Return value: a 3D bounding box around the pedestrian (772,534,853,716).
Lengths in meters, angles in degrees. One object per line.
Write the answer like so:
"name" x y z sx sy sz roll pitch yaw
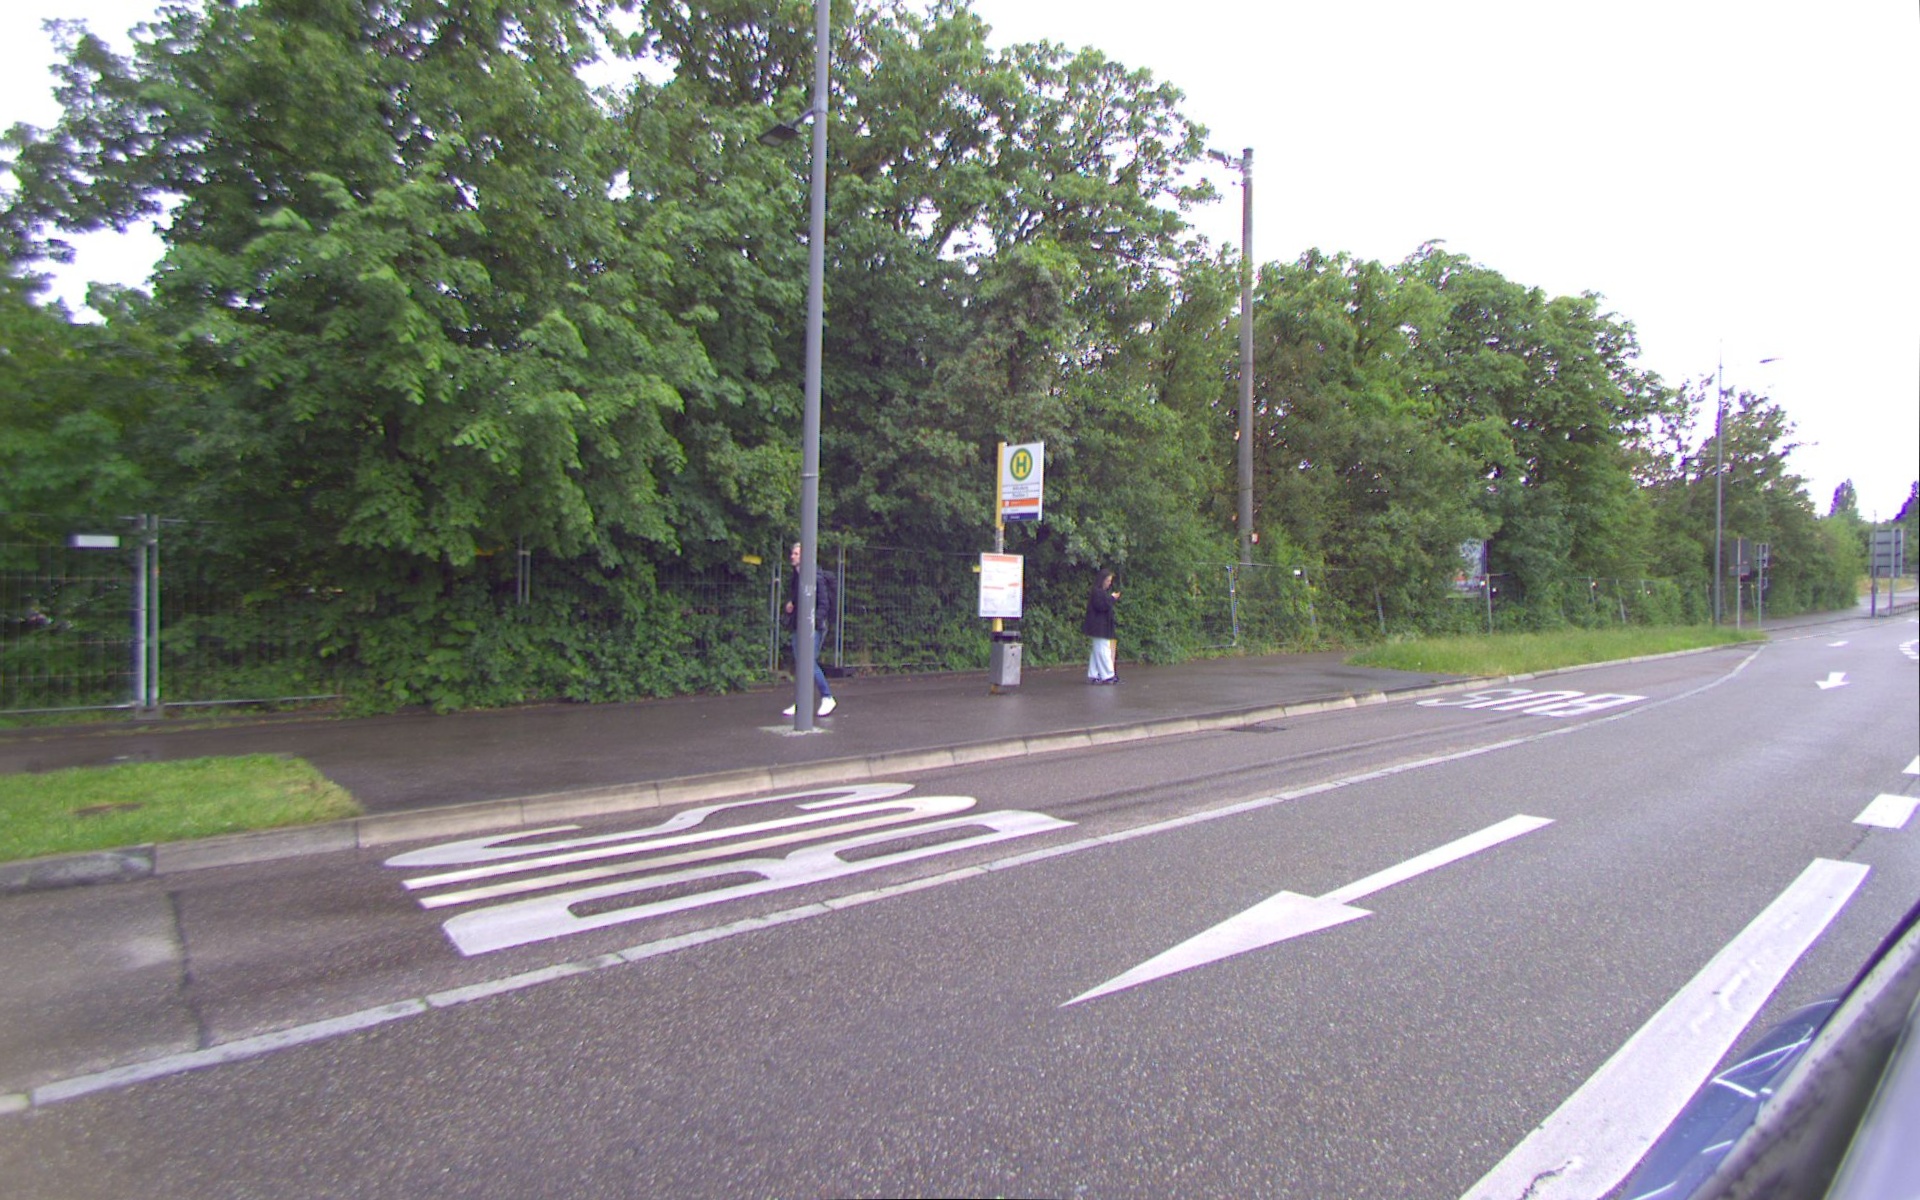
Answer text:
"pedestrian" -1.678 0.261 11.468 0.587 1.973 0.742 0 1 -40

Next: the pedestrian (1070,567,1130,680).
"pedestrian" 2.102 0.331 15.219 0.650 1.648 0.588 0 1 -40
